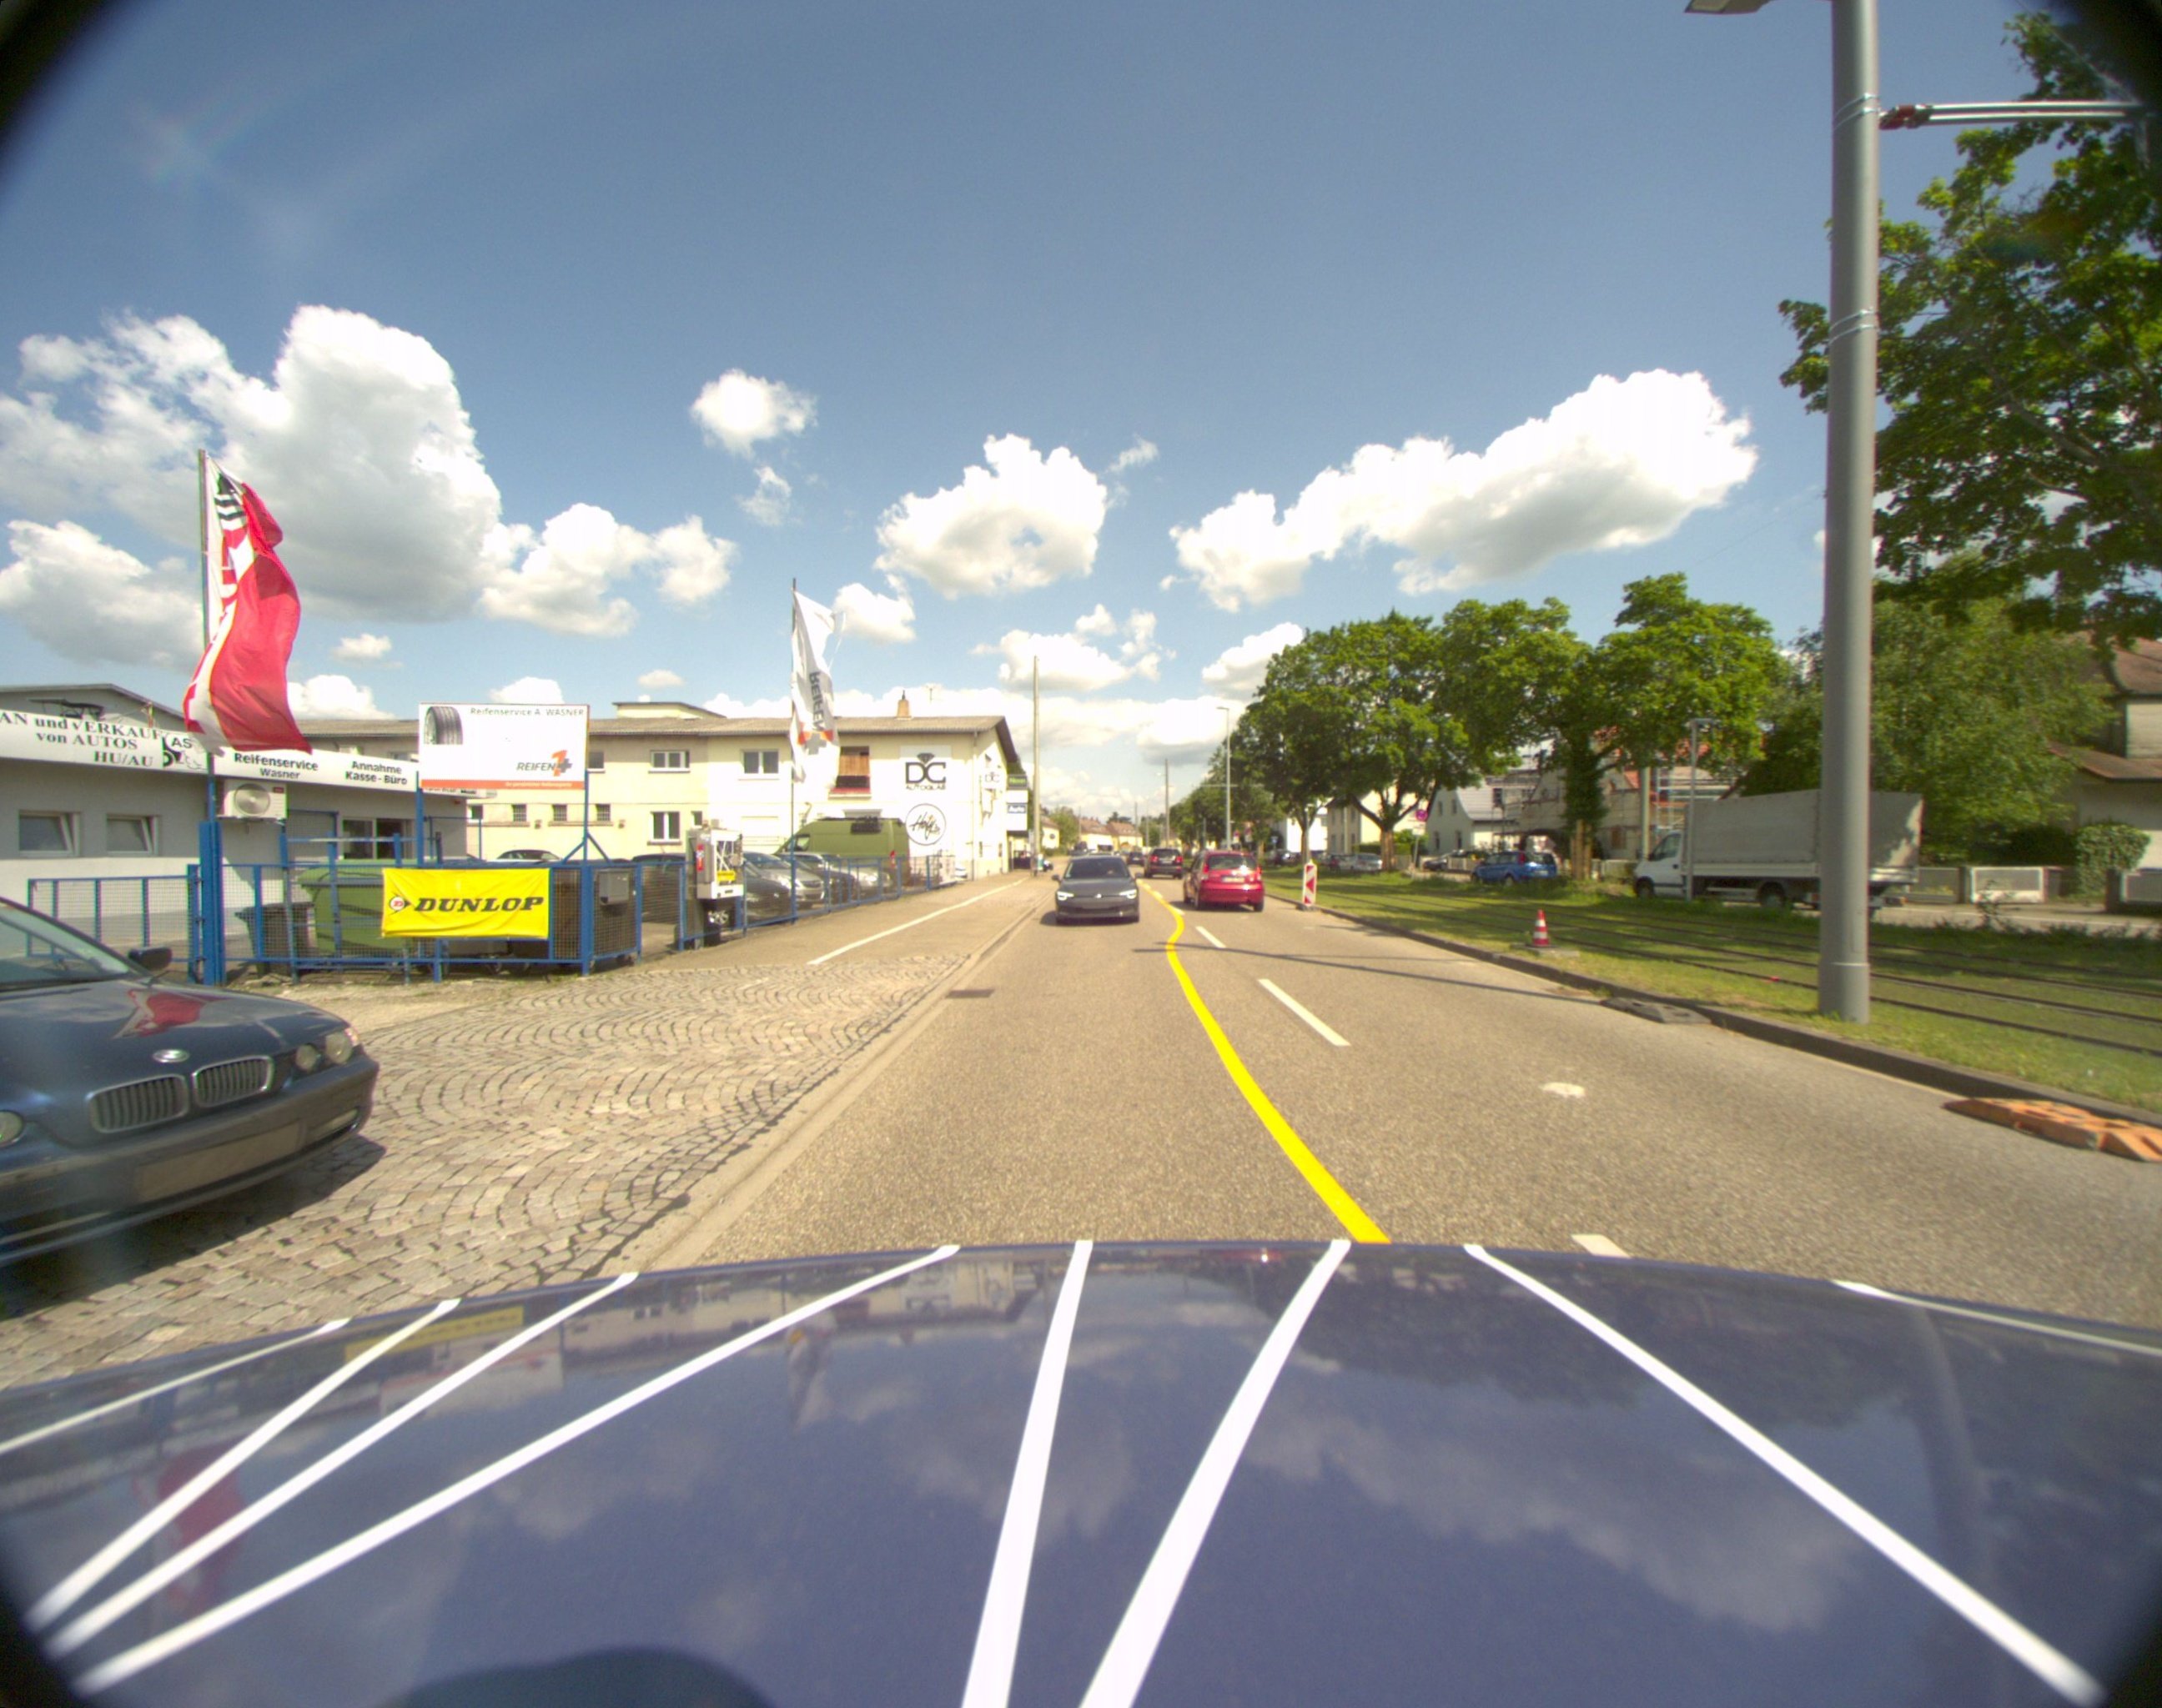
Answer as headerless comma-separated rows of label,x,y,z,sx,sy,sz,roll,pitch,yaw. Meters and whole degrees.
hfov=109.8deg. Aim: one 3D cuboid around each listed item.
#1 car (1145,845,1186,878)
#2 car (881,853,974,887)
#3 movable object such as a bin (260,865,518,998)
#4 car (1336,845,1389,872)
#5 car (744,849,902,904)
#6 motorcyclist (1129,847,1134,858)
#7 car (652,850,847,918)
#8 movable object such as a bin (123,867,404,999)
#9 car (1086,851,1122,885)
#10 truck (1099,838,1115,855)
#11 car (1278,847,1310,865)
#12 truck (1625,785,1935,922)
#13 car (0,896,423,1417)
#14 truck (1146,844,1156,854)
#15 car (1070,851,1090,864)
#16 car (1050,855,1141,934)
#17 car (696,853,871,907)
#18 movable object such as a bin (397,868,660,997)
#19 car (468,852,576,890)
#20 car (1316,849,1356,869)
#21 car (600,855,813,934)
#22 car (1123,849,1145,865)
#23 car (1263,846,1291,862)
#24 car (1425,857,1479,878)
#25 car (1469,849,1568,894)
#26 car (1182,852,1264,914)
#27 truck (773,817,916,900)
car,4.496,0.375,41.051,1.801,1.680,4.221,1,1,1
car,-6.788,0.695,33.736,3.725,1.350,1.518,-2,2,5
movable object such as a bin,-8.556,0.905,9.558,1.535,1.402,1.765,-2,1,1
car,17.407,0.262,47.219,1.707,1.504,4.523,-2,1,2
car,-8.002,0.689,23.751,4.257,1.499,1.828,-2,1,10
motorcyclist,6.500,-0.167,98.443,0.651,1.434,0.588,0,2,2
car,-8.237,0.742,18.940,4.254,1.496,1.829,-2,2,18
movable object such as a bin,-10.130,0.921,9.573,1.535,1.402,1.765,-2,1,1
car,1.104,0.612,36.065,1.594,1.418,3.707,-2,1,2
truck,4.872,-1.386,140.287,2.631,2.872,7.924,-2,1,4
car,17.590,0.141,62.944,1.636,1.294,3.999,-2,1,2
truck,16.798,-0.075,18.913,2.370,2.789,5.950,-2,1,2
car,-5.065,0.922,2.817,4.060,1.400,1.648,0,2,8
truck,20.049,-1.475,216.590,2.665,2.787,7.539,-2,1,4
car,-0.101,0.368,88.959,1.823,1.412,4.002,0,1,8
car,0.385,0.798,17.144,1.742,1.410,4.381,-2,1,3
car,-8.358,0.716,21.501,4.257,1.366,1.741,-1,1,9
movable object such as a bin,-6.778,0.920,9.525,1.967,1.339,1.708,-2,1,1
car,-20.900,0.599,28.559,1.453,1.255,3.276,-2,1,2
car,17.705,0.303,52.934,1.624,1.235,3.786,-2,1,2
car,-7.775,0.800,15.830,3.901,1.454,1.627,-1,2,18
car,5.046,0.267,72.895,1.715,1.478,4.535,1,1,0
car,17.720,0.008,68.941,1.636,1.294,3.999,-2,1,2
car,25.941,0.954,53.145,3.237,1.375,1.490,-1,2,32
car,16.854,0.614,29.499,1.672,1.504,3.930,-2,1,2
car,3.607,0.681,19.848,1.582,1.461,3.720,0,1,2
truck,-8.179,0.123,26.555,4.181,2.645,2.108,-2,2,3
